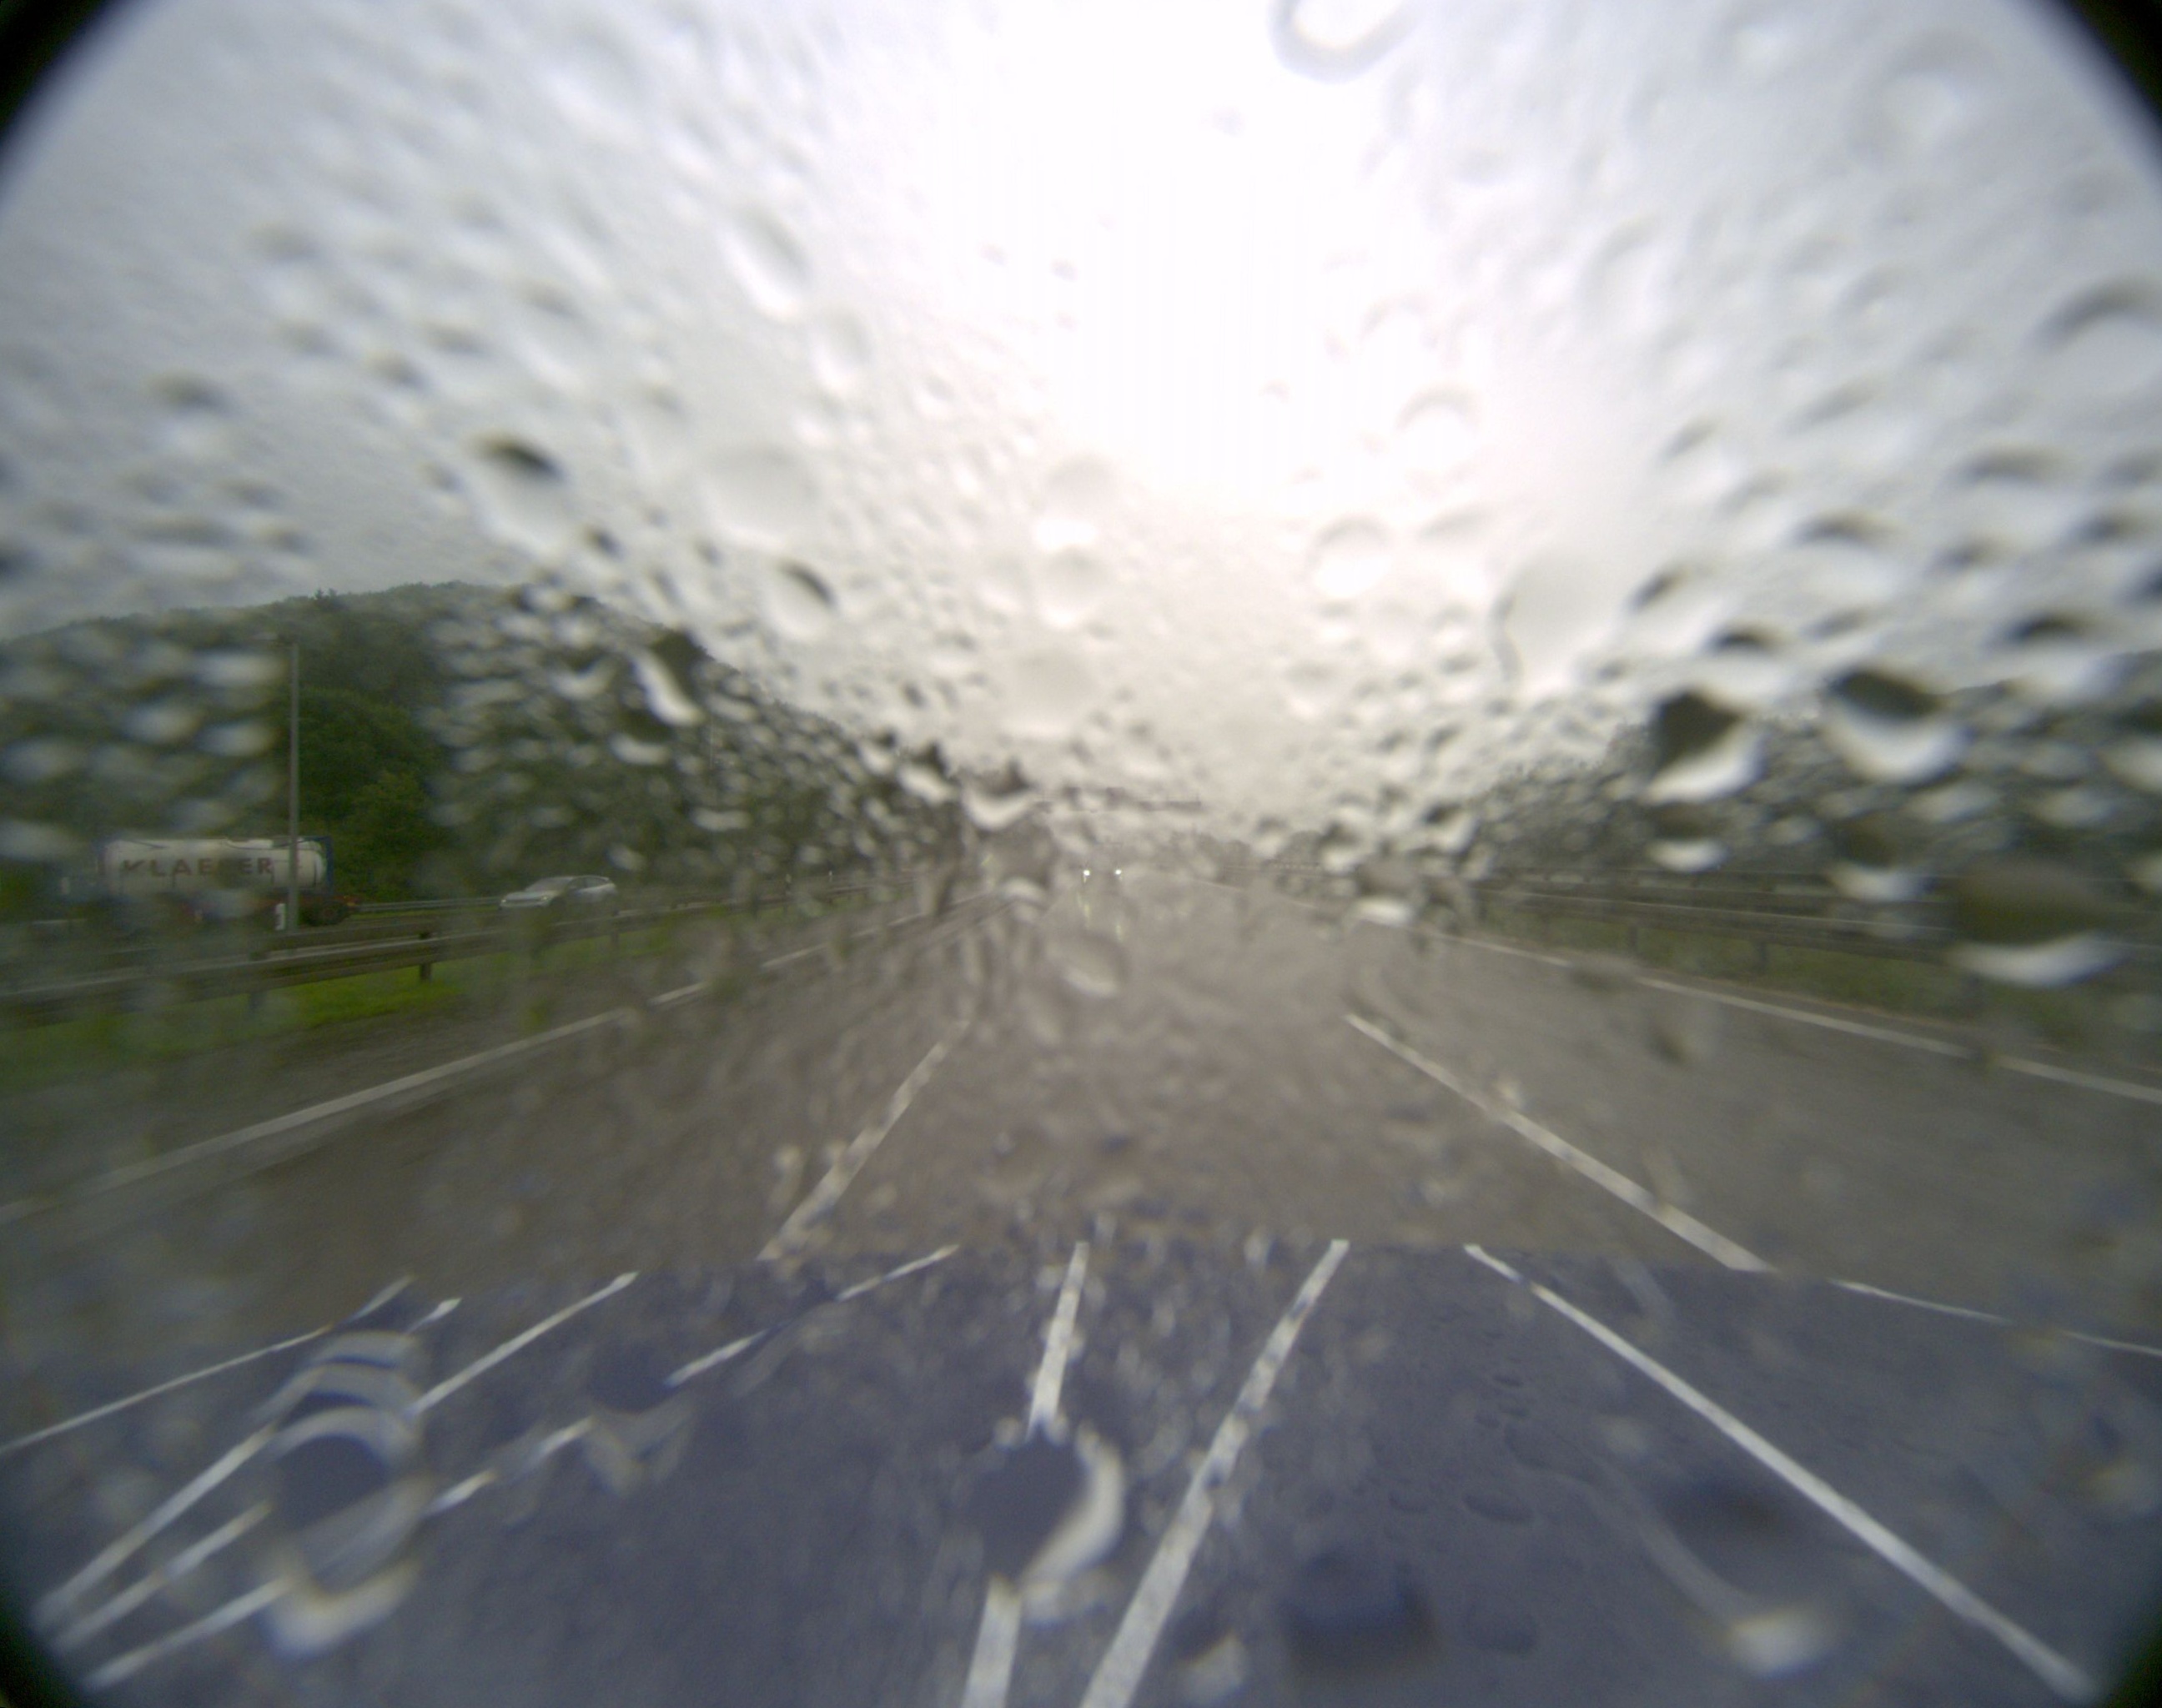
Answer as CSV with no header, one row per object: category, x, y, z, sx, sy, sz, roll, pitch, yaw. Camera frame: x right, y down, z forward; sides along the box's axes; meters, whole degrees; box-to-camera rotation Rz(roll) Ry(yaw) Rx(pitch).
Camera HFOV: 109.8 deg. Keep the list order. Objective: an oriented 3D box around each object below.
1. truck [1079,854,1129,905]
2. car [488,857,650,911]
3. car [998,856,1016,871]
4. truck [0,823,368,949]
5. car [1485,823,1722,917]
truck,0.985,1.030,34.492,1.998,2.002,7.576,-1,0,1
car,-19.798,1.096,29.808,1.997,1.740,5.664,-2,1,6
car,-10.357,1.340,106.724,1.858,2.002,4.001,-2,0,4
truck,-35.776,1.016,29.049,2.872,4.232,11.893,-2,1,34
car,14.424,0.397,21.643,2.633,2.215,5.997,-2,0,1
